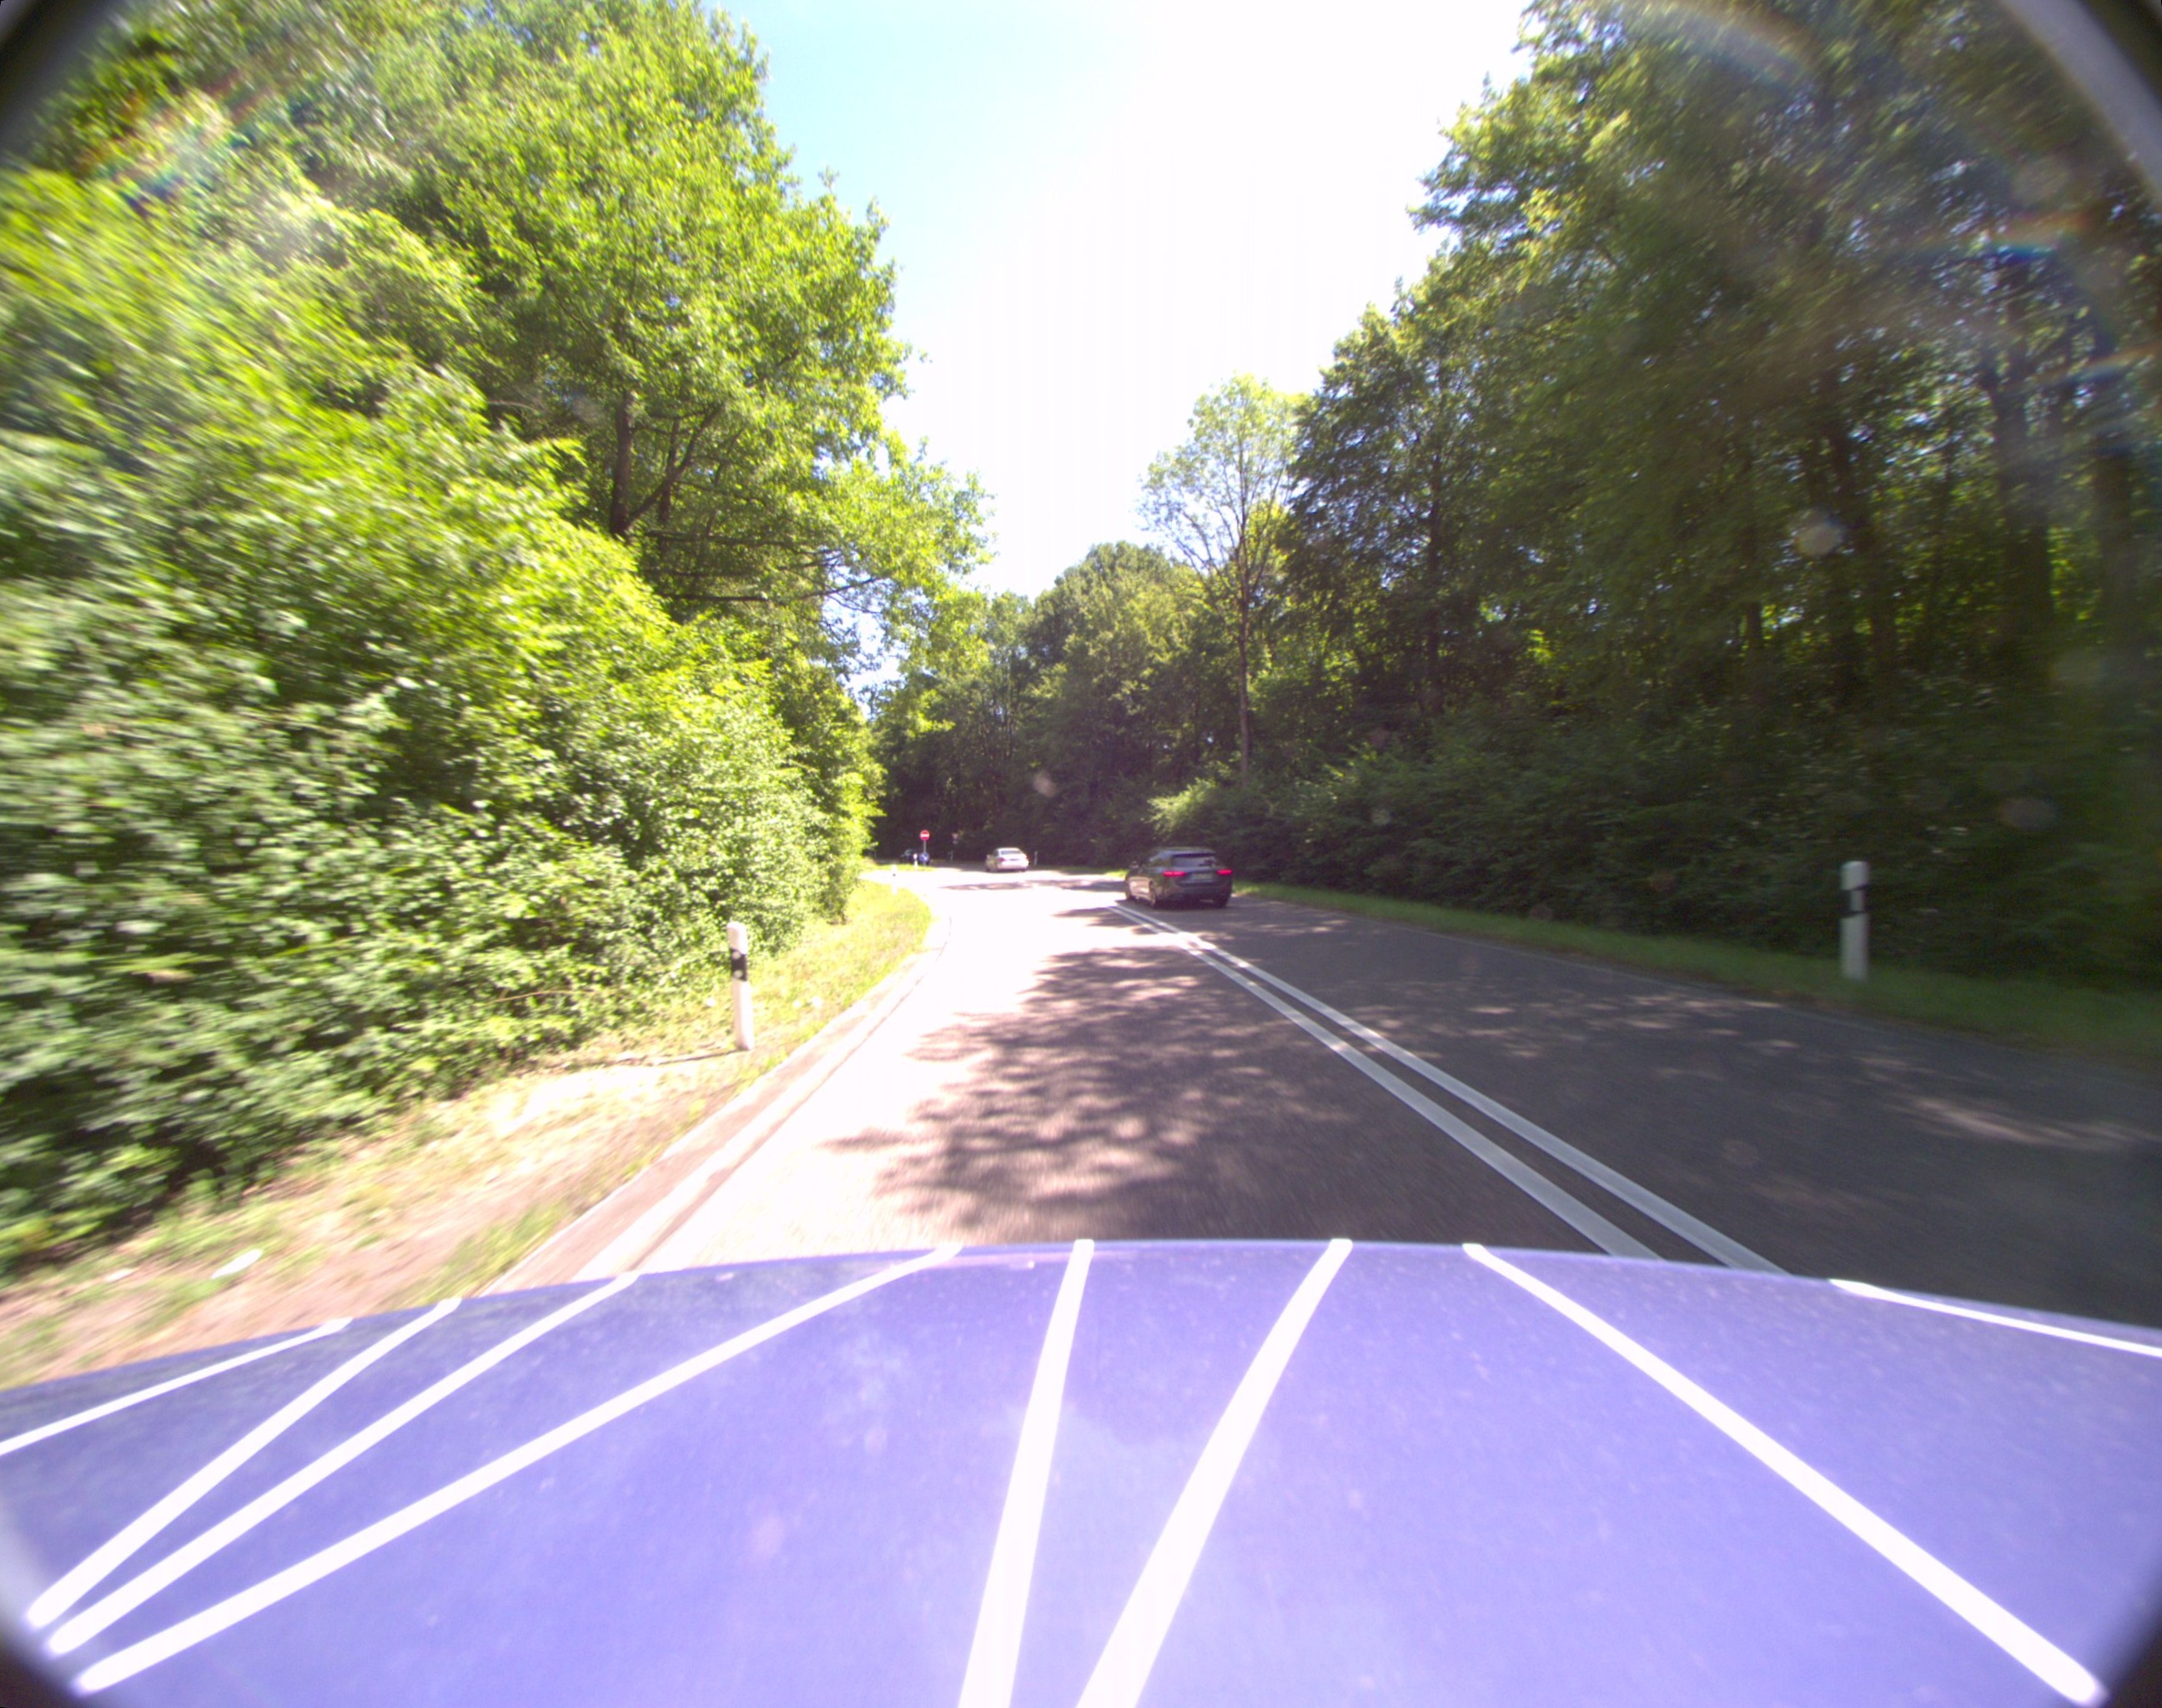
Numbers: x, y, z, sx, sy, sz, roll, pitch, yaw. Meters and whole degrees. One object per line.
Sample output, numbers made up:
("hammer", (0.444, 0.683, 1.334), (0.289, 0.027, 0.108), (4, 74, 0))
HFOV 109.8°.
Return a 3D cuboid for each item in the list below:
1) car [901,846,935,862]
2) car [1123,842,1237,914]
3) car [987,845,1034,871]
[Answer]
("car", (-14.853, -0.003, 69.027), (1.797, 1.398, 4.350), (-1, 1, -29))
("car", (2.349, 0.510, 19.230), (1.762, 1.565, 4.363), (-2, 1, -8))
("car", (-4.339, 0.208, 46.029), (1.853, 1.477, 4.756), (-1, 1, -18))
